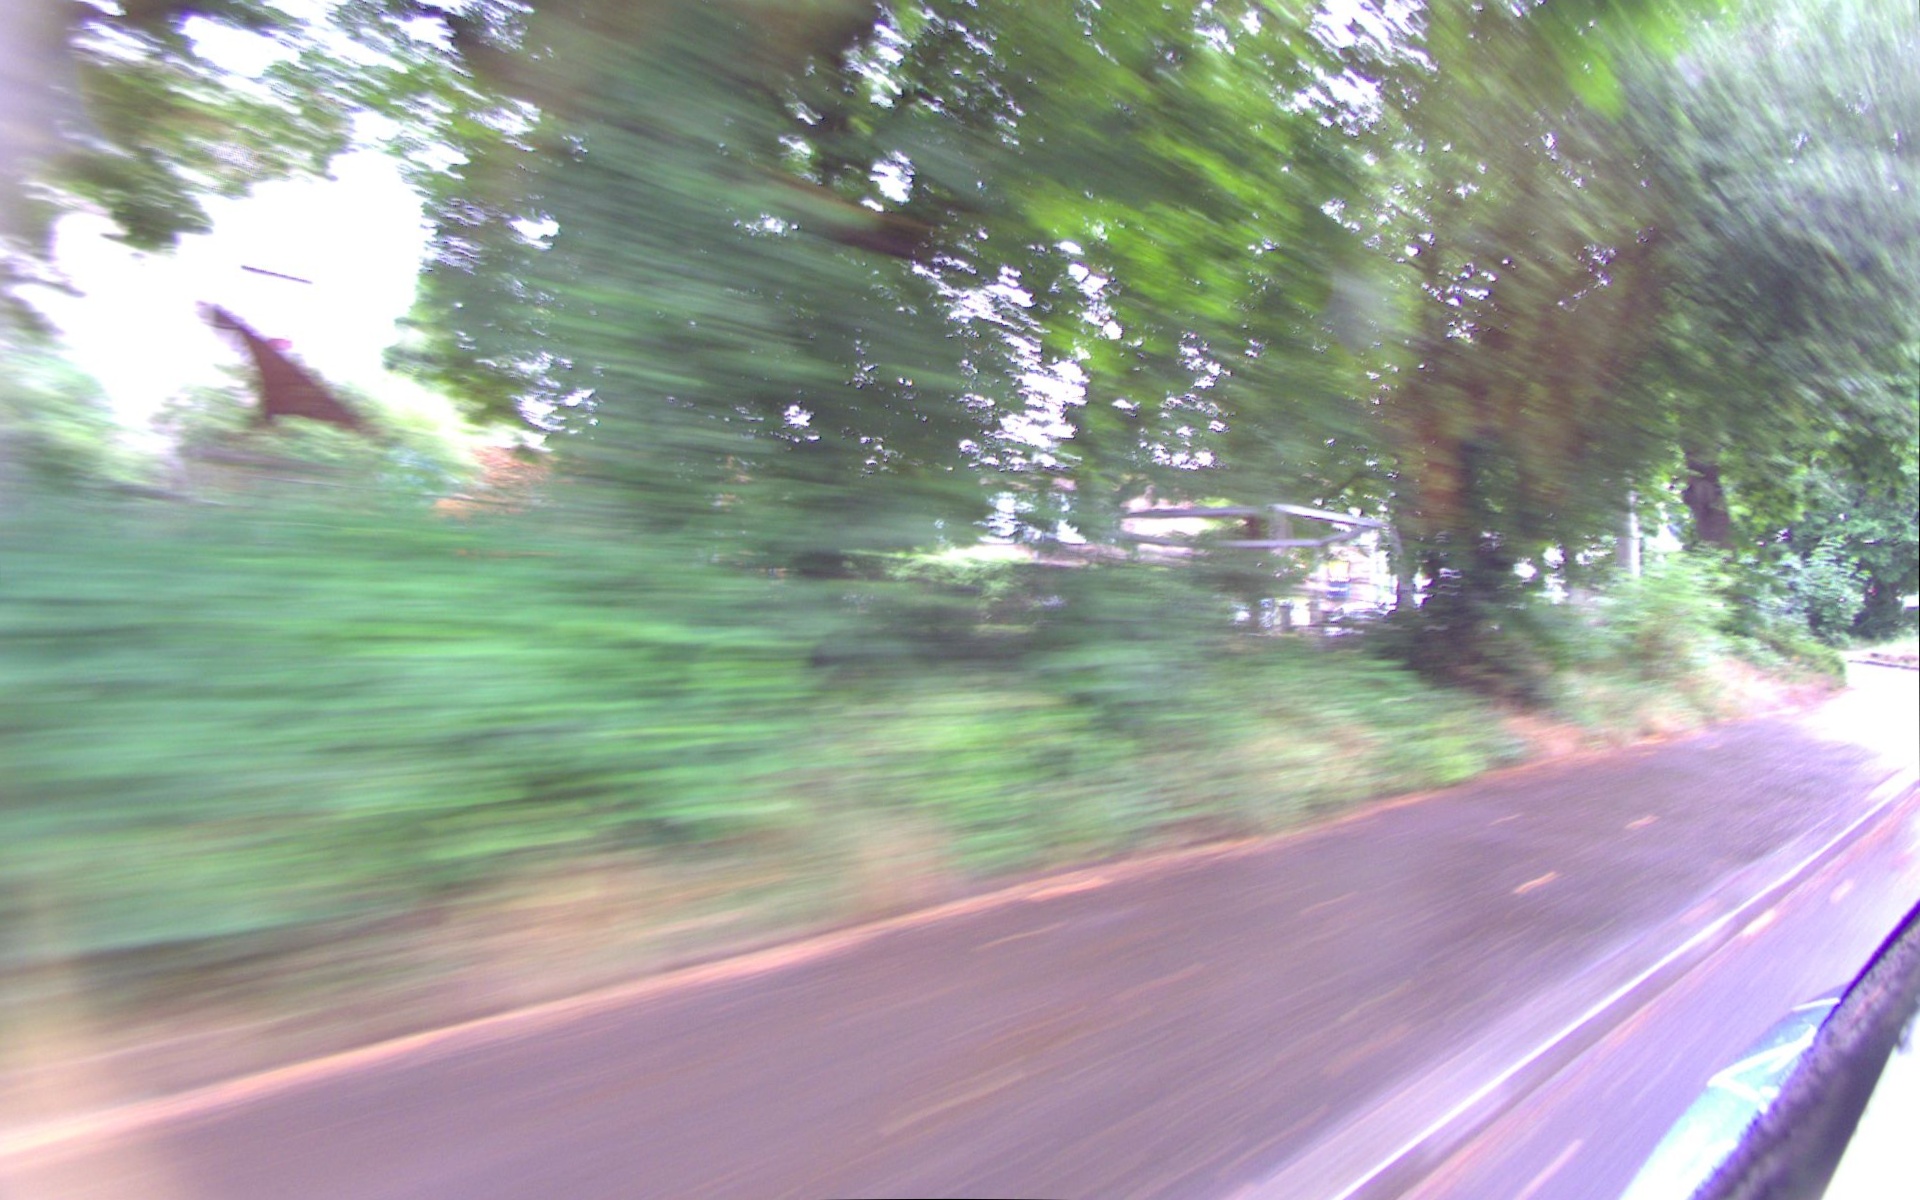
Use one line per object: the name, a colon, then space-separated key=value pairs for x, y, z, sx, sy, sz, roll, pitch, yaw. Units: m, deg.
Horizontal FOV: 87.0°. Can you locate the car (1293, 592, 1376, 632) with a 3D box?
car: x=14.881 y=0.438 z=40.428 sx=1.964 sy=1.483 sz=3.997 roll=1 pitch=0 yaw=3
